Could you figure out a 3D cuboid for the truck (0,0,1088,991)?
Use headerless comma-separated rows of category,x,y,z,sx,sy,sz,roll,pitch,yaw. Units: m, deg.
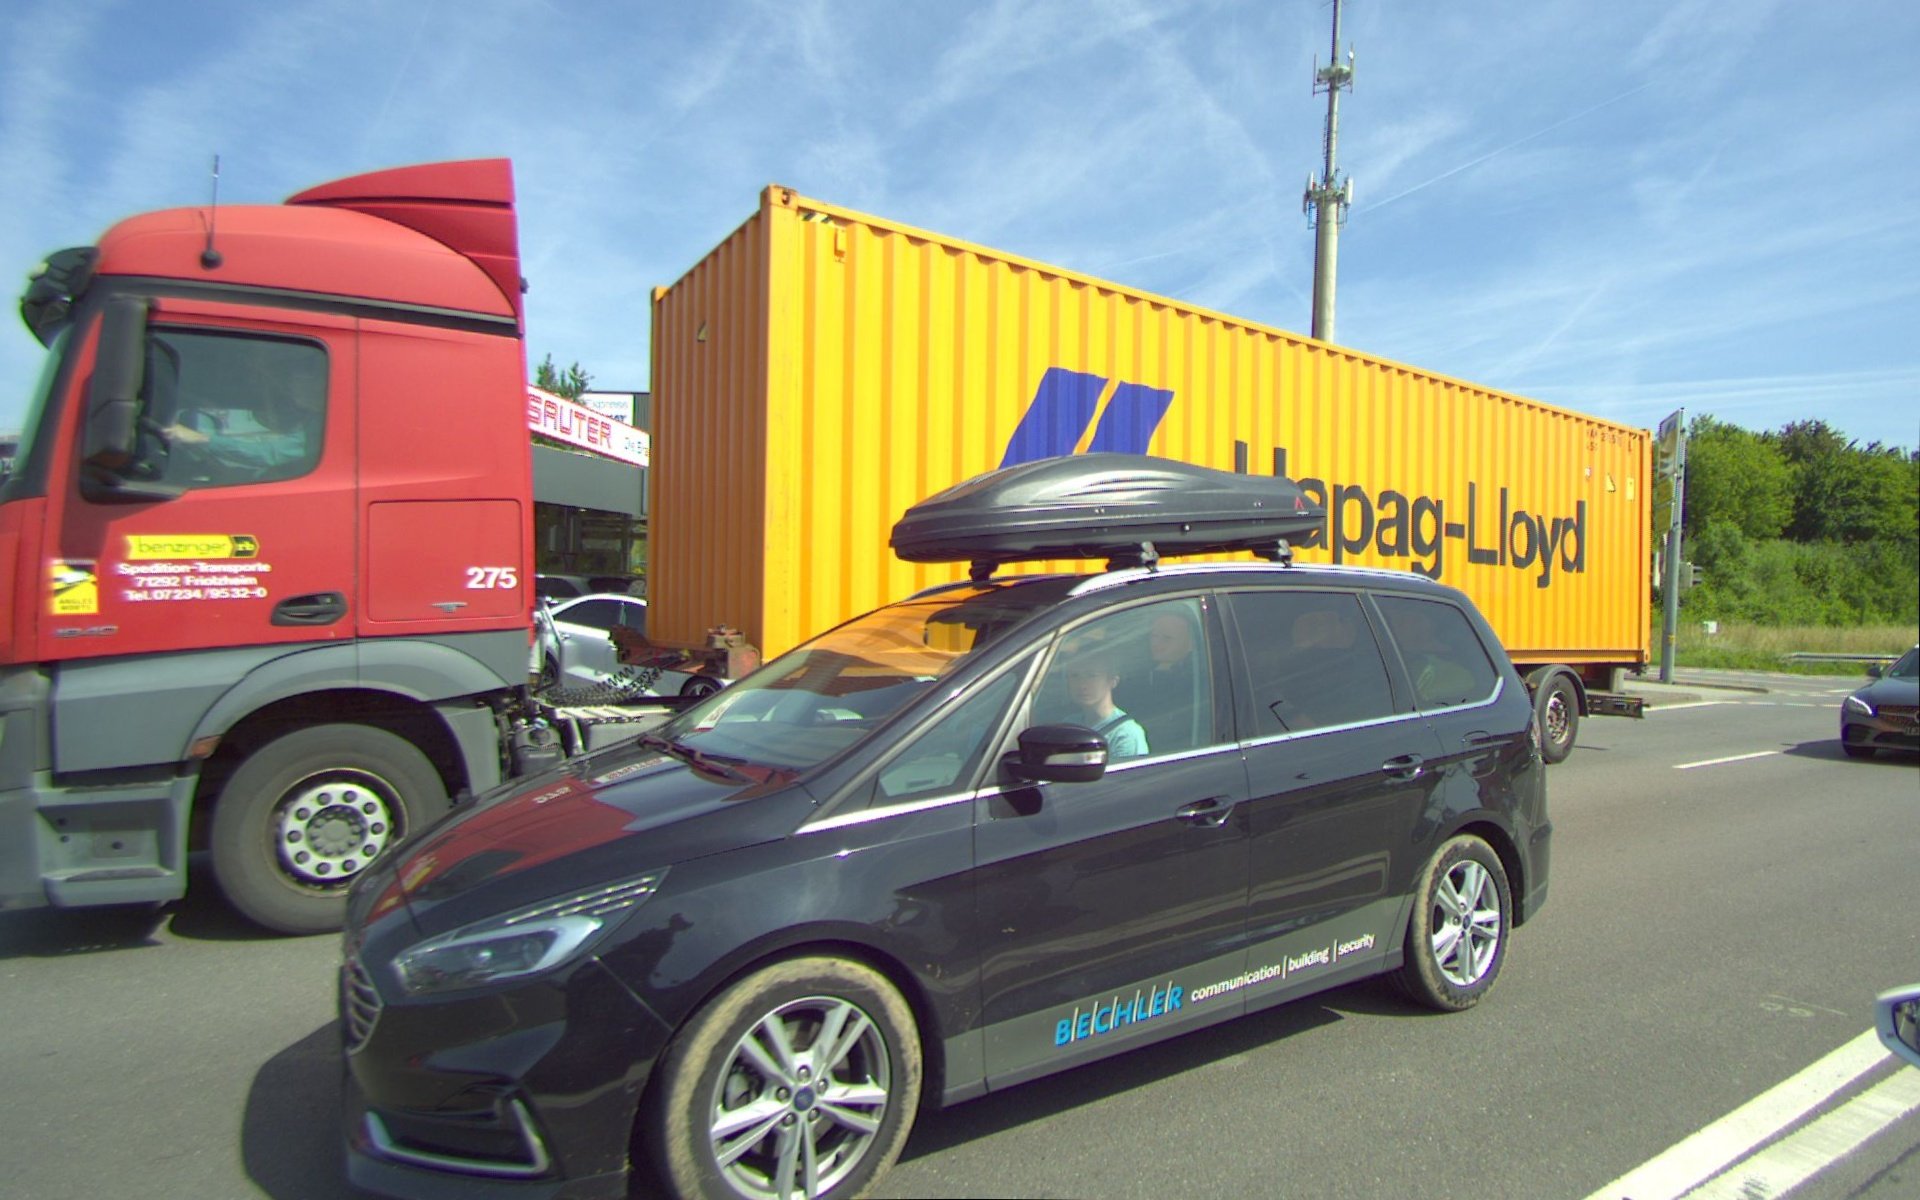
truck,-2.341,-0.430,6.564,5.996,4.051,2.703,2,0,-35

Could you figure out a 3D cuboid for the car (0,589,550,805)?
car,-6.254,0.670,9.657,1.934,1.455,4.643,2,1,13

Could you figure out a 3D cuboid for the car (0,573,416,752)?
car,-8.354,0.499,11.011,1.762,1.507,4.346,2,1,13

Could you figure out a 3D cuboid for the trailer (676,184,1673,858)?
trailer,3.425,-0.328,10.611,12.110,4.051,2.703,2,0,-35

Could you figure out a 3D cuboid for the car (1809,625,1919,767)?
car,12.920,1.139,12.865,4.539,1.623,1.910,1,-1,-33

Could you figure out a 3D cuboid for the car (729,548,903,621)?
car,-4.885,-0.560,34.276,5.404,2.069,2.069,4,2,15

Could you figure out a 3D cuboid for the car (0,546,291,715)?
car,-10.654,0.274,11.829,1.855,1.772,4.470,2,1,16

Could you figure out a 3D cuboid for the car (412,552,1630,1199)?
car,0.507,0.770,3.931,4.539,1.623,1.897,1,-1,-33

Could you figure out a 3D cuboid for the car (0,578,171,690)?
car,-12.805,0.413,12.631,1.728,1.346,4.345,2,1,16

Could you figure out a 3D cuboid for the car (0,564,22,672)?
car,-15.060,0.253,12.857,1.791,1.544,4.144,2,1,16

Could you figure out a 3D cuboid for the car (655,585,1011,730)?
car,-1.807,0.716,14.444,4.623,1.533,1.955,4,2,20

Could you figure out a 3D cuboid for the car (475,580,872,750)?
car,-3.601,0.669,12.457,4.628,1.495,1.891,5,2,27
